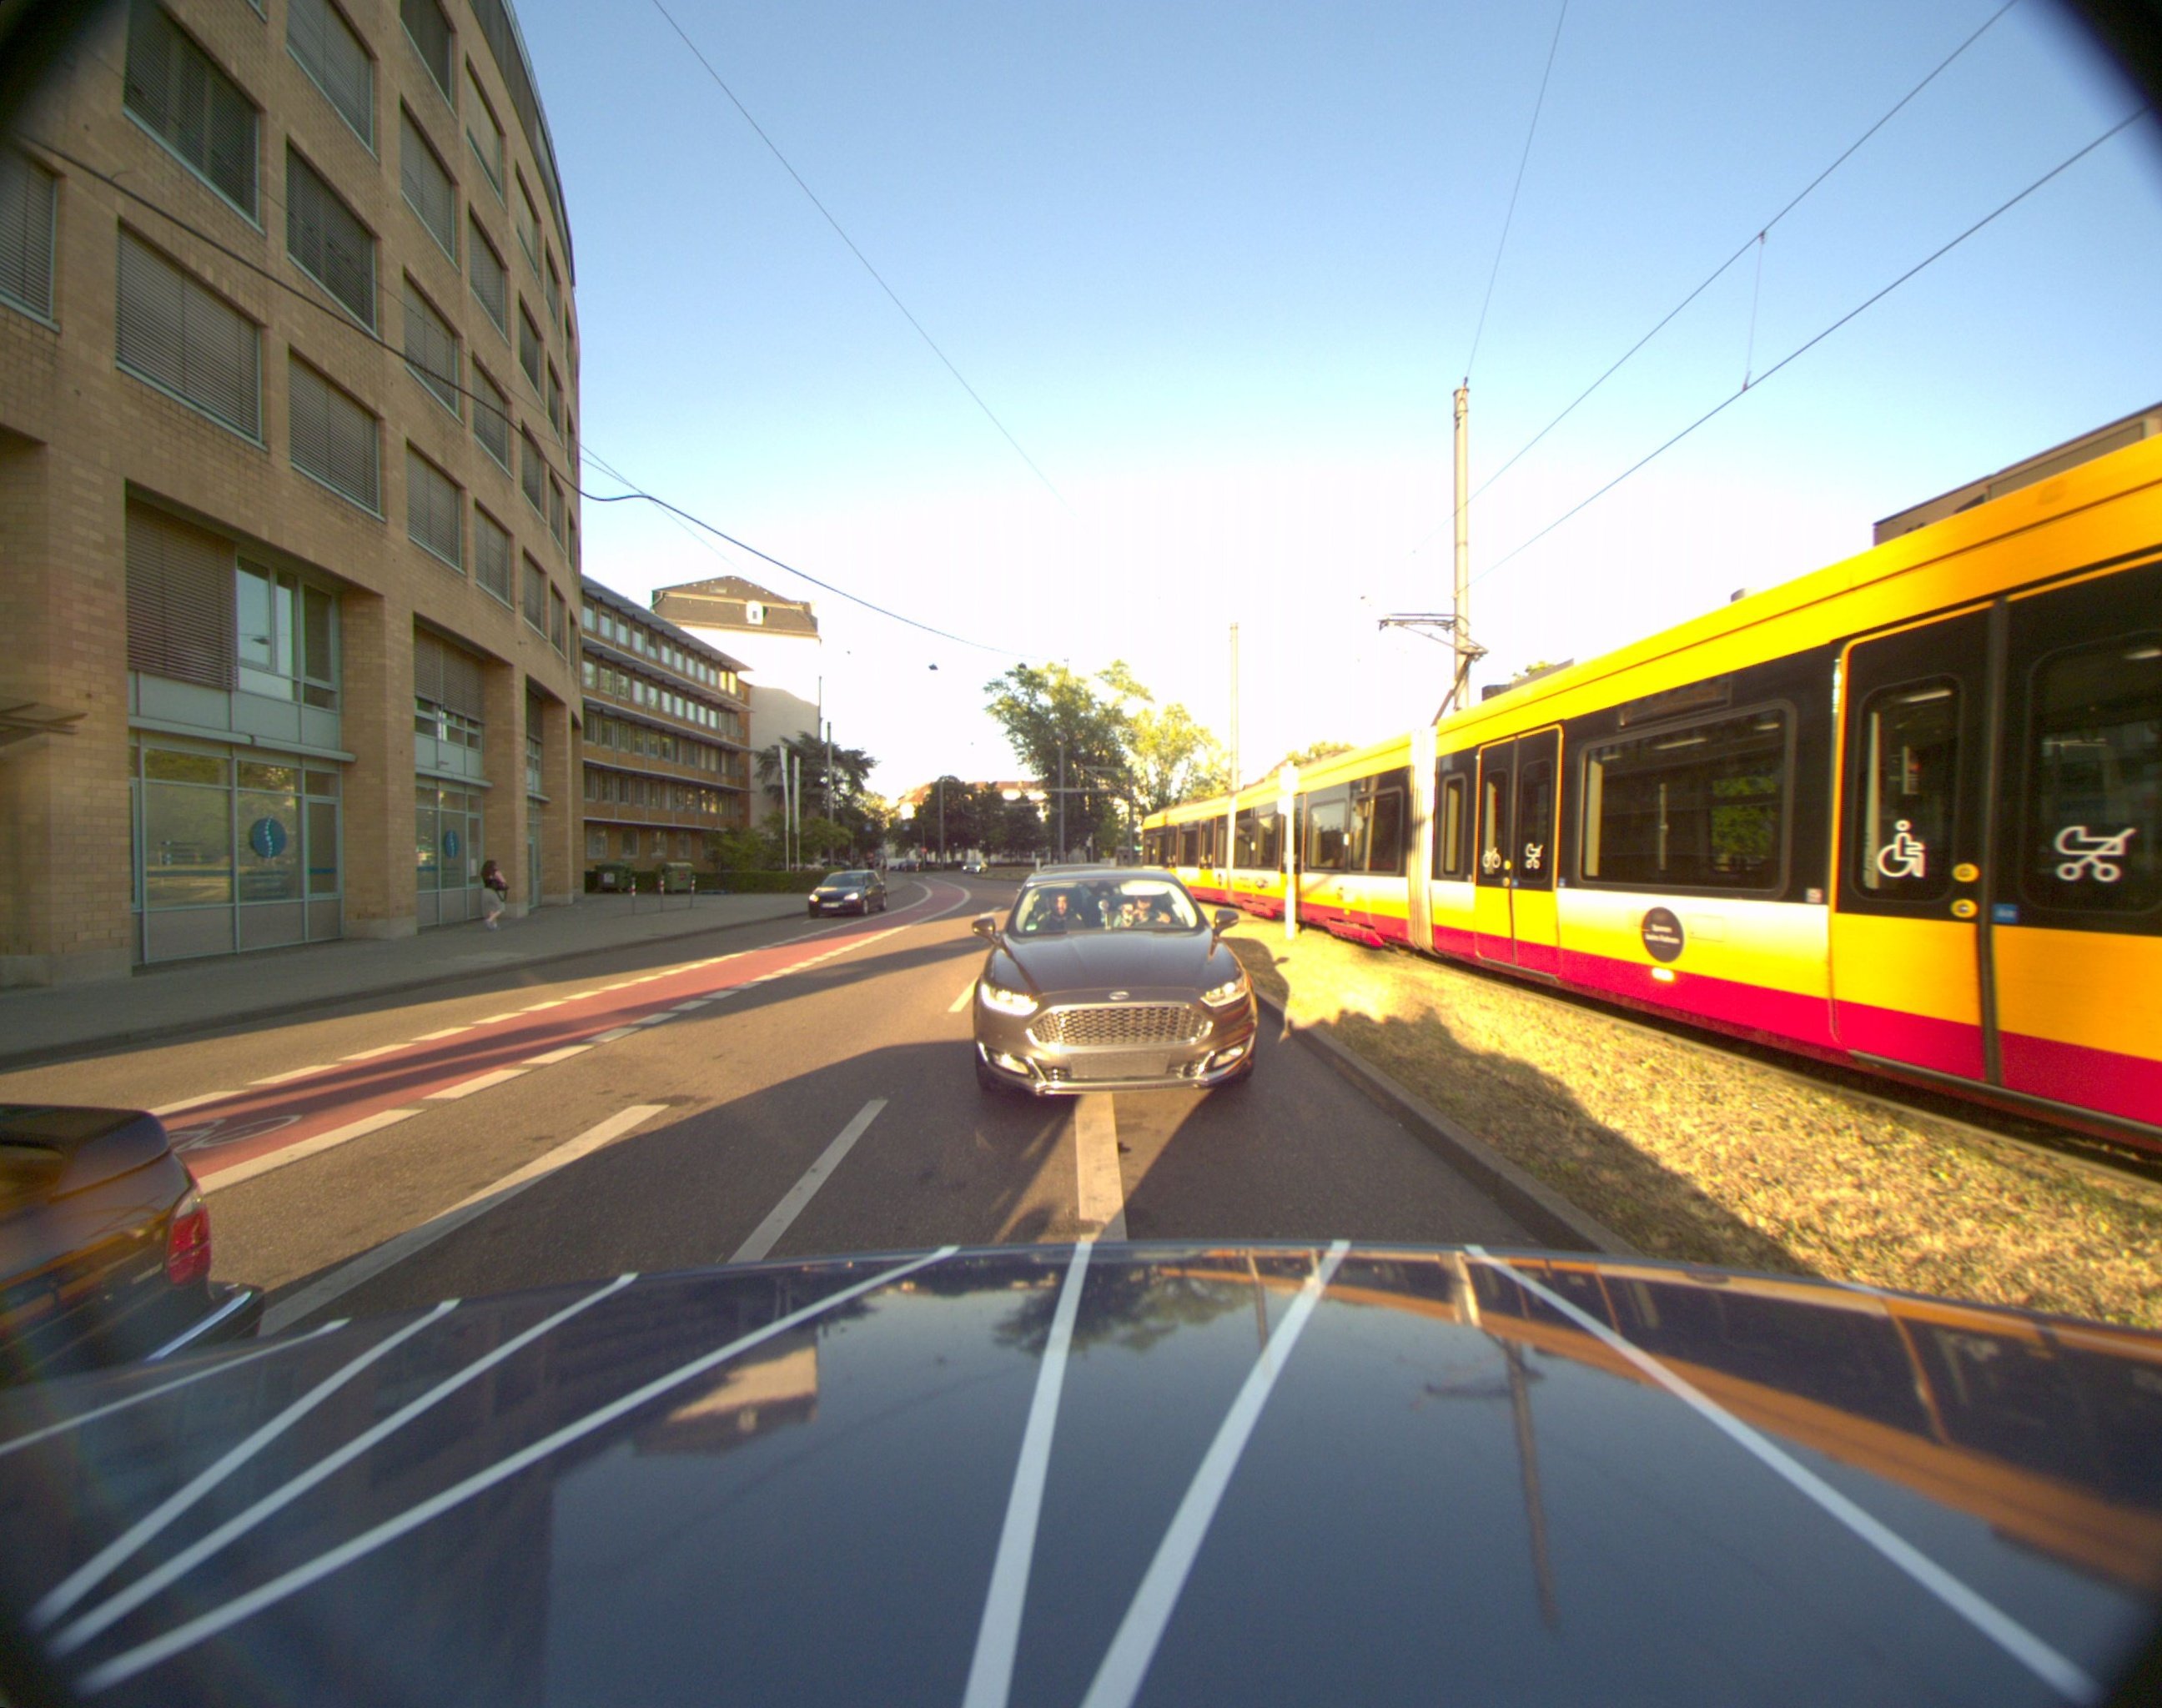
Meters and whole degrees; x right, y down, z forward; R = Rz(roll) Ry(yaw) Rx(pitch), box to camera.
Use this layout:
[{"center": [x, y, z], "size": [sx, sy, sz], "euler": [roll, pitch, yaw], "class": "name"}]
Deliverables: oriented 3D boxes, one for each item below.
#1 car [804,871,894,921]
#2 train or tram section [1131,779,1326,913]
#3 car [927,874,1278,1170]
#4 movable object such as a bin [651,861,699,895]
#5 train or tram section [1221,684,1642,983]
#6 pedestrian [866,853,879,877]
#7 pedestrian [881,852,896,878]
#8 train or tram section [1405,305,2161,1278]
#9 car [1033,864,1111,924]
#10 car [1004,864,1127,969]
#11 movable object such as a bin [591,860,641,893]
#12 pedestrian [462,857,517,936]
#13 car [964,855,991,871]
[{"center": [-7.570, 1.327, 25.142], "size": [1.759, 1.379, 3.999], "euler": [-1, 0, -1], "class": "car"}, {"center": [4.539, -0.244, 27.192], "size": [2.915, 3.717, 12.181], "euler": [-1, 0, -9], "class": "train or tram section"}, {"center": [0.158, 0.978, 6.485], "size": [1.890, 1.477, 4.725], "euler": [0, 0, 1], "class": "car"}, {"center": [-18.270, 1.061, 34.230], "size": [1.427, 1.450, 1.332], "euler": [-1, 0, -3], "class": "movable object such as a bin"}, {"center": [5.531, -0.277, 15.631], "size": [2.885, 3.717, 12.182], "euler": [-1, 0, -1], "class": "train or tram section"}, {"center": [-15.836, 0.858, 57.656], "size": [0.728, 1.797, 0.724], "euler": [-1, 1, 1], "class": "pedestrian"}, {"center": [-14.262, 0.838, 56.256], "size": [0.912, 1.883, 1.124], "euler": [-1, 1, -25], "class": "pedestrian"}, {"center": [5.588, -0.247, 3.138], "size": [2.916, 3.717, 13.217], "euler": [-1, 0, 0], "class": "train or tram section"}, {"center": [-0.276, 1.076, 21.818], "size": [1.999, 1.453, 4.142], "euler": [-1, 0, -1], "class": "car"}, {"center": [-0.193, 0.994, 14.085], "size": [1.897, 1.526, 4.705], "euler": [0, 0, 1], "class": "car"}, {"center": [-21.235, 1.033, 34.737], "size": [1.427, 1.450, 1.332], "euler": [-1, 0, -2], "class": "movable object such as a bin"}, {"center": [-12.910, 0.905, 16.598], "size": [0.628, 1.672, 0.713], "euler": [-1, 1, -3], "class": "pedestrian"}, {"center": [-11.486, 1.011, 84.614], "size": [1.997, 1.739, 4.002], "euler": [-1, 0, 6], "class": "car"}]
